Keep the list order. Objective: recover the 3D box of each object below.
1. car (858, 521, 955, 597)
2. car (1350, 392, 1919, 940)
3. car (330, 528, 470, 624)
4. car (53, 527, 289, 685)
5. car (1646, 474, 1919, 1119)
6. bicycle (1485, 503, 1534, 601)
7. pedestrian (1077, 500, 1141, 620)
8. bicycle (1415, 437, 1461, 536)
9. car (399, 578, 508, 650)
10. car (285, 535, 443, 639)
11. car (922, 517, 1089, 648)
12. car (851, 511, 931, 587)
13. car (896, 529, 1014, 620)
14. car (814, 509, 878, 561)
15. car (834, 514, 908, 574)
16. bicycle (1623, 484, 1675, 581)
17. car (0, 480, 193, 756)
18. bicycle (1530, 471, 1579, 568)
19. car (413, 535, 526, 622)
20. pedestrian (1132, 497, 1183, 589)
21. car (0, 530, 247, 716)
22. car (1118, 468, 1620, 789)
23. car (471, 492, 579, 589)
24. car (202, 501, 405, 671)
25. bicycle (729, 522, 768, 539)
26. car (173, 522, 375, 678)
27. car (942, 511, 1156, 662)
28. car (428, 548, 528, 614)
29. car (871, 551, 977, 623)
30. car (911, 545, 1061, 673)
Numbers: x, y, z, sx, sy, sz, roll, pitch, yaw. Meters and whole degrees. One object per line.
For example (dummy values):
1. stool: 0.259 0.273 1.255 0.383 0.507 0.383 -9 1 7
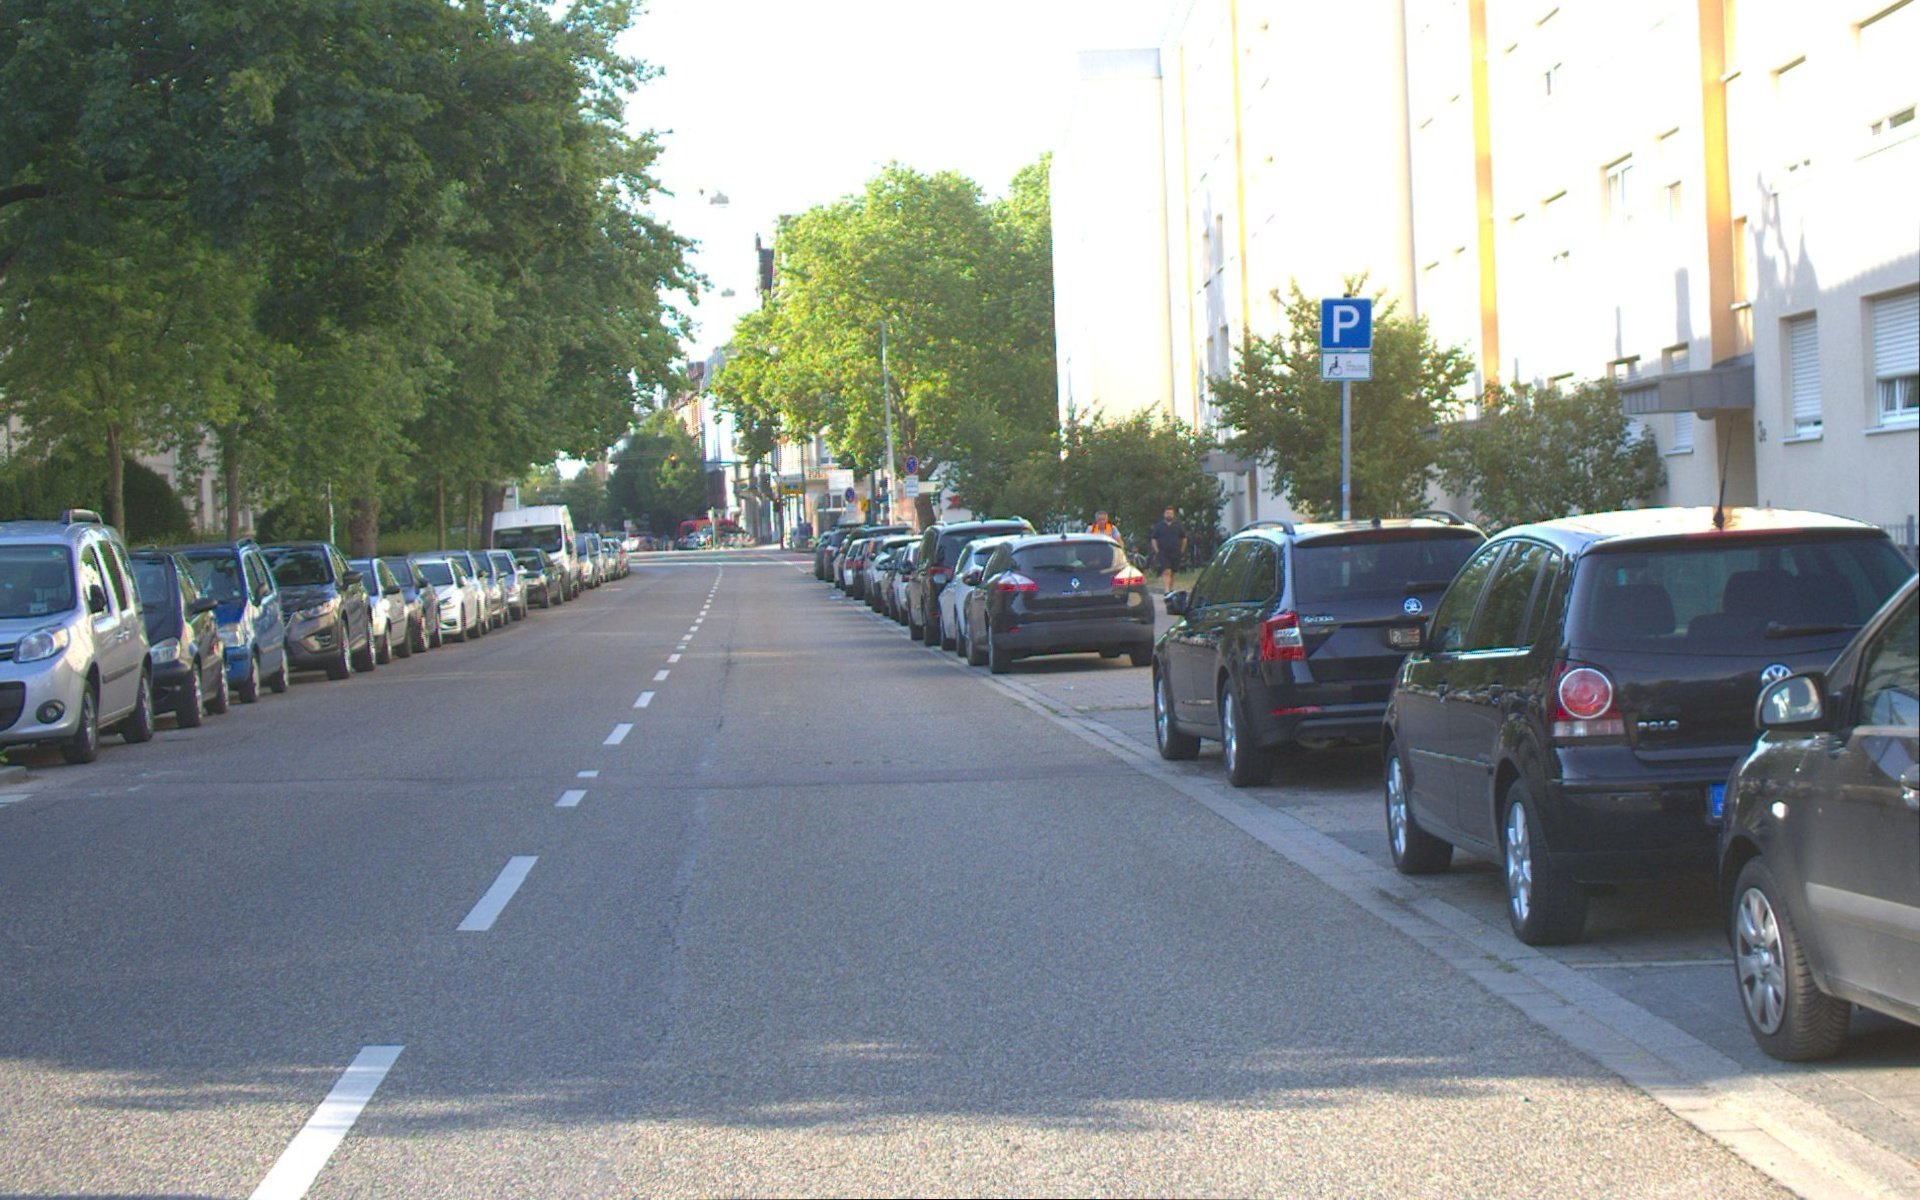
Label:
1. car: -1.250 -0.926 78.672 1.962 1.600 4.280 -3 0 -3
2. car: 2.769 0.200 13.436 1.901 1.773 4.582 0 0 -1
3. car: -9.317 -0.403 57.500 2.004 1.547 4.472 0 0 -5
4. car: -8.139 0.050 35.766 1.873 1.547 4.001 0 0 -5
5. car: 2.999 0.442 8.084 1.650 1.431 3.961 -2 3 -5
6. bicycle: 6.722 -0.584 42.092 0.333 1.188 1.241 0 0 -3
7. pedestrian: 2.375 -0.636 54.869 0.888 1.884 1.279 0 0 -3
8. bicycle: 5.932 -1.403 42.715 0.333 1.188 1.241 0 0 -3
9. car: -9.784 0.249 66.620 1.873 1.351 4.001 0 0 -5
10. car: -8.601 -0.198 49.947 1.873 1.429 4.805 0 0 -5
11. car: 0.543 -0.230 44.195 1.771 1.503 4.000 -4 1 -3
12. car: -1.663 -1.221 83.620 1.837 1.766 3.978 -2 0 -1
13. car: -0.119 -0.449 61.314 1.771 1.449 4.000 -4 1 -3
14. car: -3.712 -2.109 111.295 1.897 1.645 4.343 0 1 -4
15. car: -2.296 -1.418 88.106 1.837 1.496 4.172 0 0 -2
16. bicycle: 8.597 -0.832 42.905 0.333 1.188 1.241 0 0 -3
17. car: -7.123 0.125 25.844 1.841 1.890 4.487 -1 0 -2
18. bicycle: 7.419 -1.002 42.939 0.333 1.188 1.241 0 0 -3
19. car: -9.076 -0.399 63.888 1.873 1.547 4.001 0 0 -5
20. pedestrian: 3.656 -1.049 63.620 0.765 1.652 0.536 -4 0 -3
21. car: -7.514 0.179 30.536 1.873 1.547 4.001 0 0 -5
22. car: 2.267 0.130 20.510 1.886 1.556 4.947 -4 1 -5
23. car: -11.262 -1.519 89.414 2.358 2.437 6.165 0 0 -3
24. car: -8.625 -0.192 45.474 1.993 2.007 4.000 -4 1 -3
25. bicycle: -15.679 -5.147 254.640 2.802 1.199 0.510 0 0 -10
26. car: -8.109 -0.011 41.023 1.873 1.753 4.690 0 0 -5
27. car: 0.925 -0.149 38.437 1.798 1.502 4.622 -3 0 -5
28. car: -10.155 -0.397 72.718 1.873 1.351 4.654 0 0 -5
29. car: -0.778 -0.276 71.518 1.873 1.437 4.001 0 0 -5
30. car: 0.321 0.110 49.166 1.771 1.672 4.647 -2 0 -3
